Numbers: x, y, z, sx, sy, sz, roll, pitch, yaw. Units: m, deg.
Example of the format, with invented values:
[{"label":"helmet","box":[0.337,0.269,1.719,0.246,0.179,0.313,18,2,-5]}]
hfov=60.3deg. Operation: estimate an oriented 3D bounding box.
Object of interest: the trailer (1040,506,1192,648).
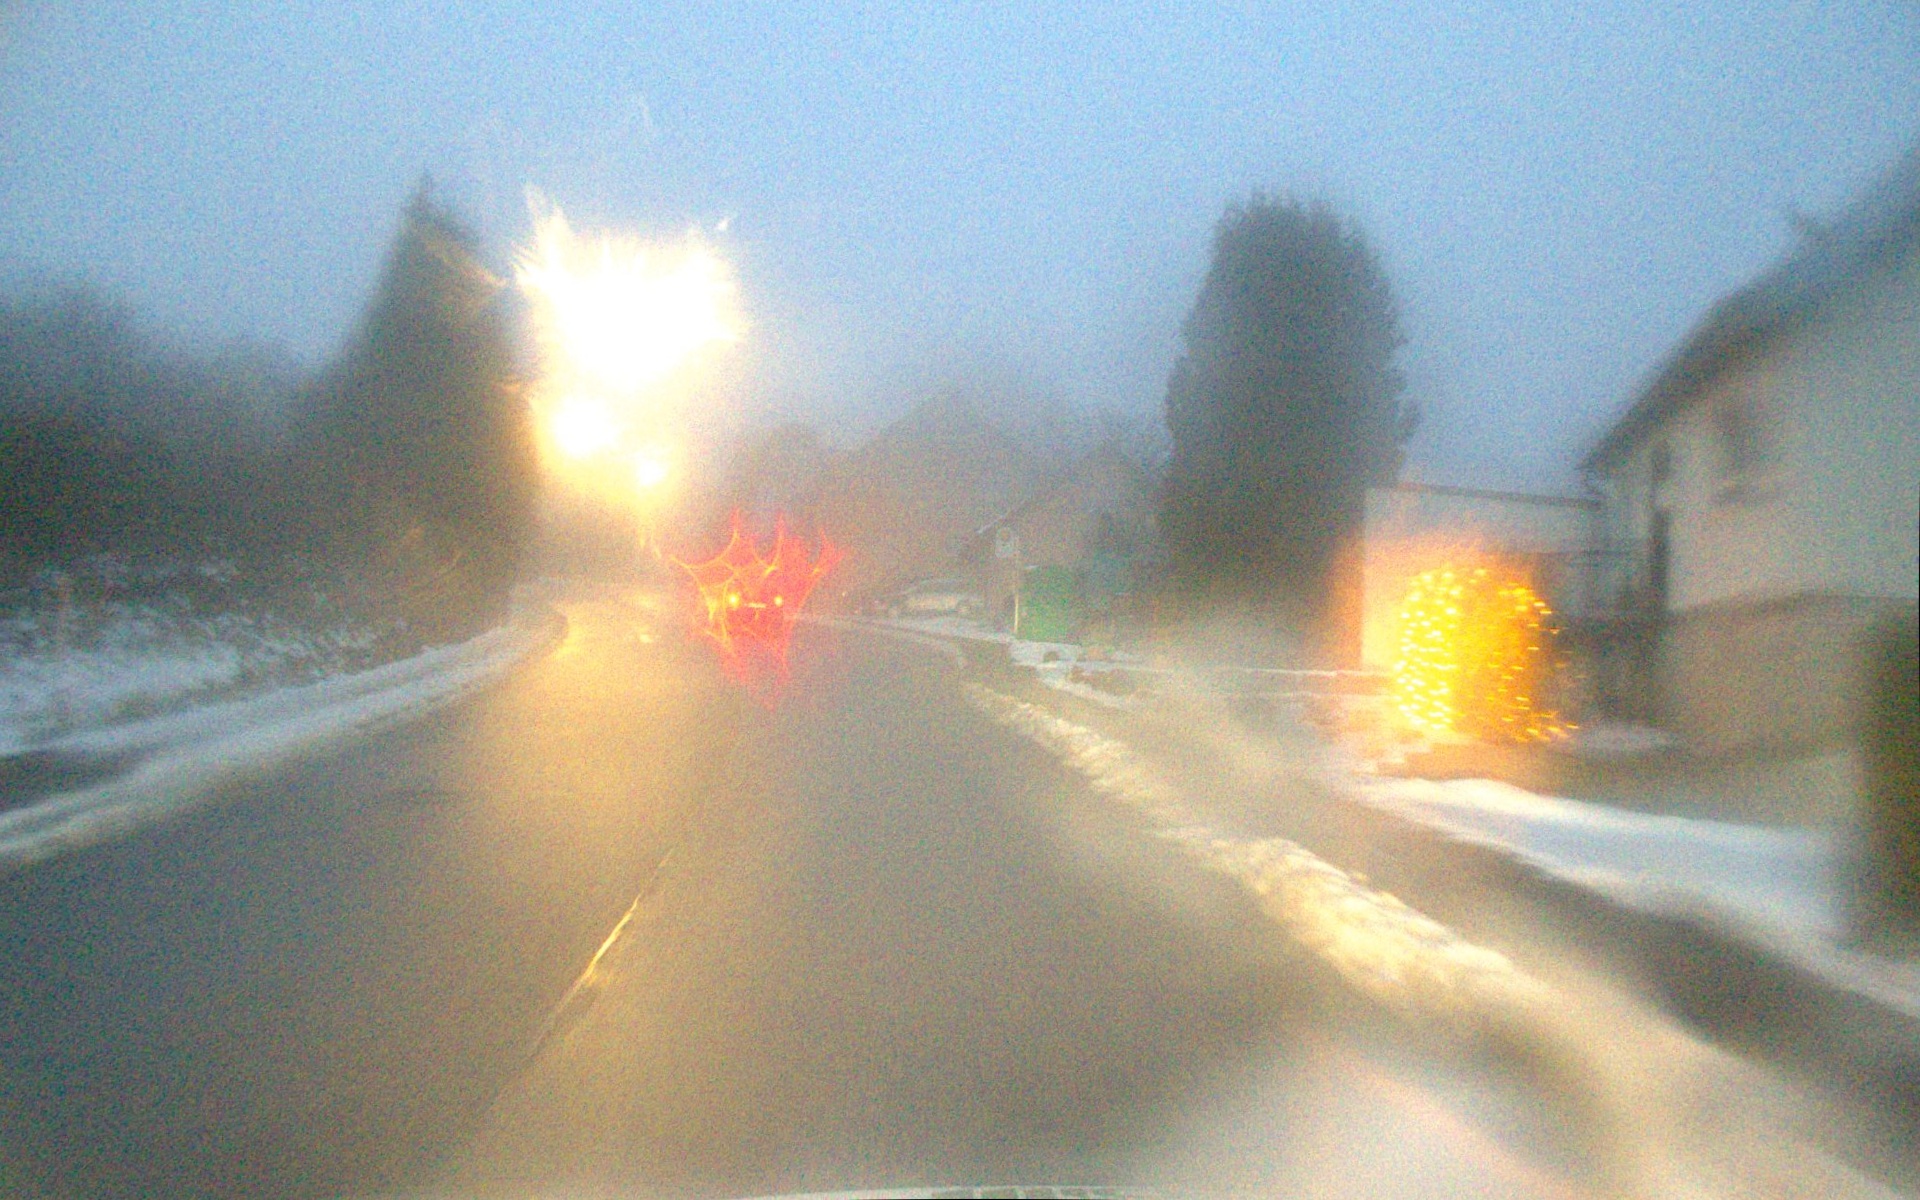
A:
[{"label":"trailer","box":[4.240,-0.591,46.013,2.823,3.622,5.049,2,-1,-11]}]

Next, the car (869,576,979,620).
[{"label":"car","box":[-1.377,-0.061,63.372,4.156,1.586,1.999,1,-2,-1]}]

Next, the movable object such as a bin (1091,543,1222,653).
[{"label":"movable object such as a bin","box":[4.833,-0.025,41.442,2.340,2.512,4.511,2,-1,-5]}]

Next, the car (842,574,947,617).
[{"label":"car","box":[-2.658,-0.180,66.222,4.078,1.586,1.943,1,-2,-7]}]

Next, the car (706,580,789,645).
[{"label":"car","box":[-6.208,0.400,47.926,1.960,1.767,3.864,1,-2,-14]}]
